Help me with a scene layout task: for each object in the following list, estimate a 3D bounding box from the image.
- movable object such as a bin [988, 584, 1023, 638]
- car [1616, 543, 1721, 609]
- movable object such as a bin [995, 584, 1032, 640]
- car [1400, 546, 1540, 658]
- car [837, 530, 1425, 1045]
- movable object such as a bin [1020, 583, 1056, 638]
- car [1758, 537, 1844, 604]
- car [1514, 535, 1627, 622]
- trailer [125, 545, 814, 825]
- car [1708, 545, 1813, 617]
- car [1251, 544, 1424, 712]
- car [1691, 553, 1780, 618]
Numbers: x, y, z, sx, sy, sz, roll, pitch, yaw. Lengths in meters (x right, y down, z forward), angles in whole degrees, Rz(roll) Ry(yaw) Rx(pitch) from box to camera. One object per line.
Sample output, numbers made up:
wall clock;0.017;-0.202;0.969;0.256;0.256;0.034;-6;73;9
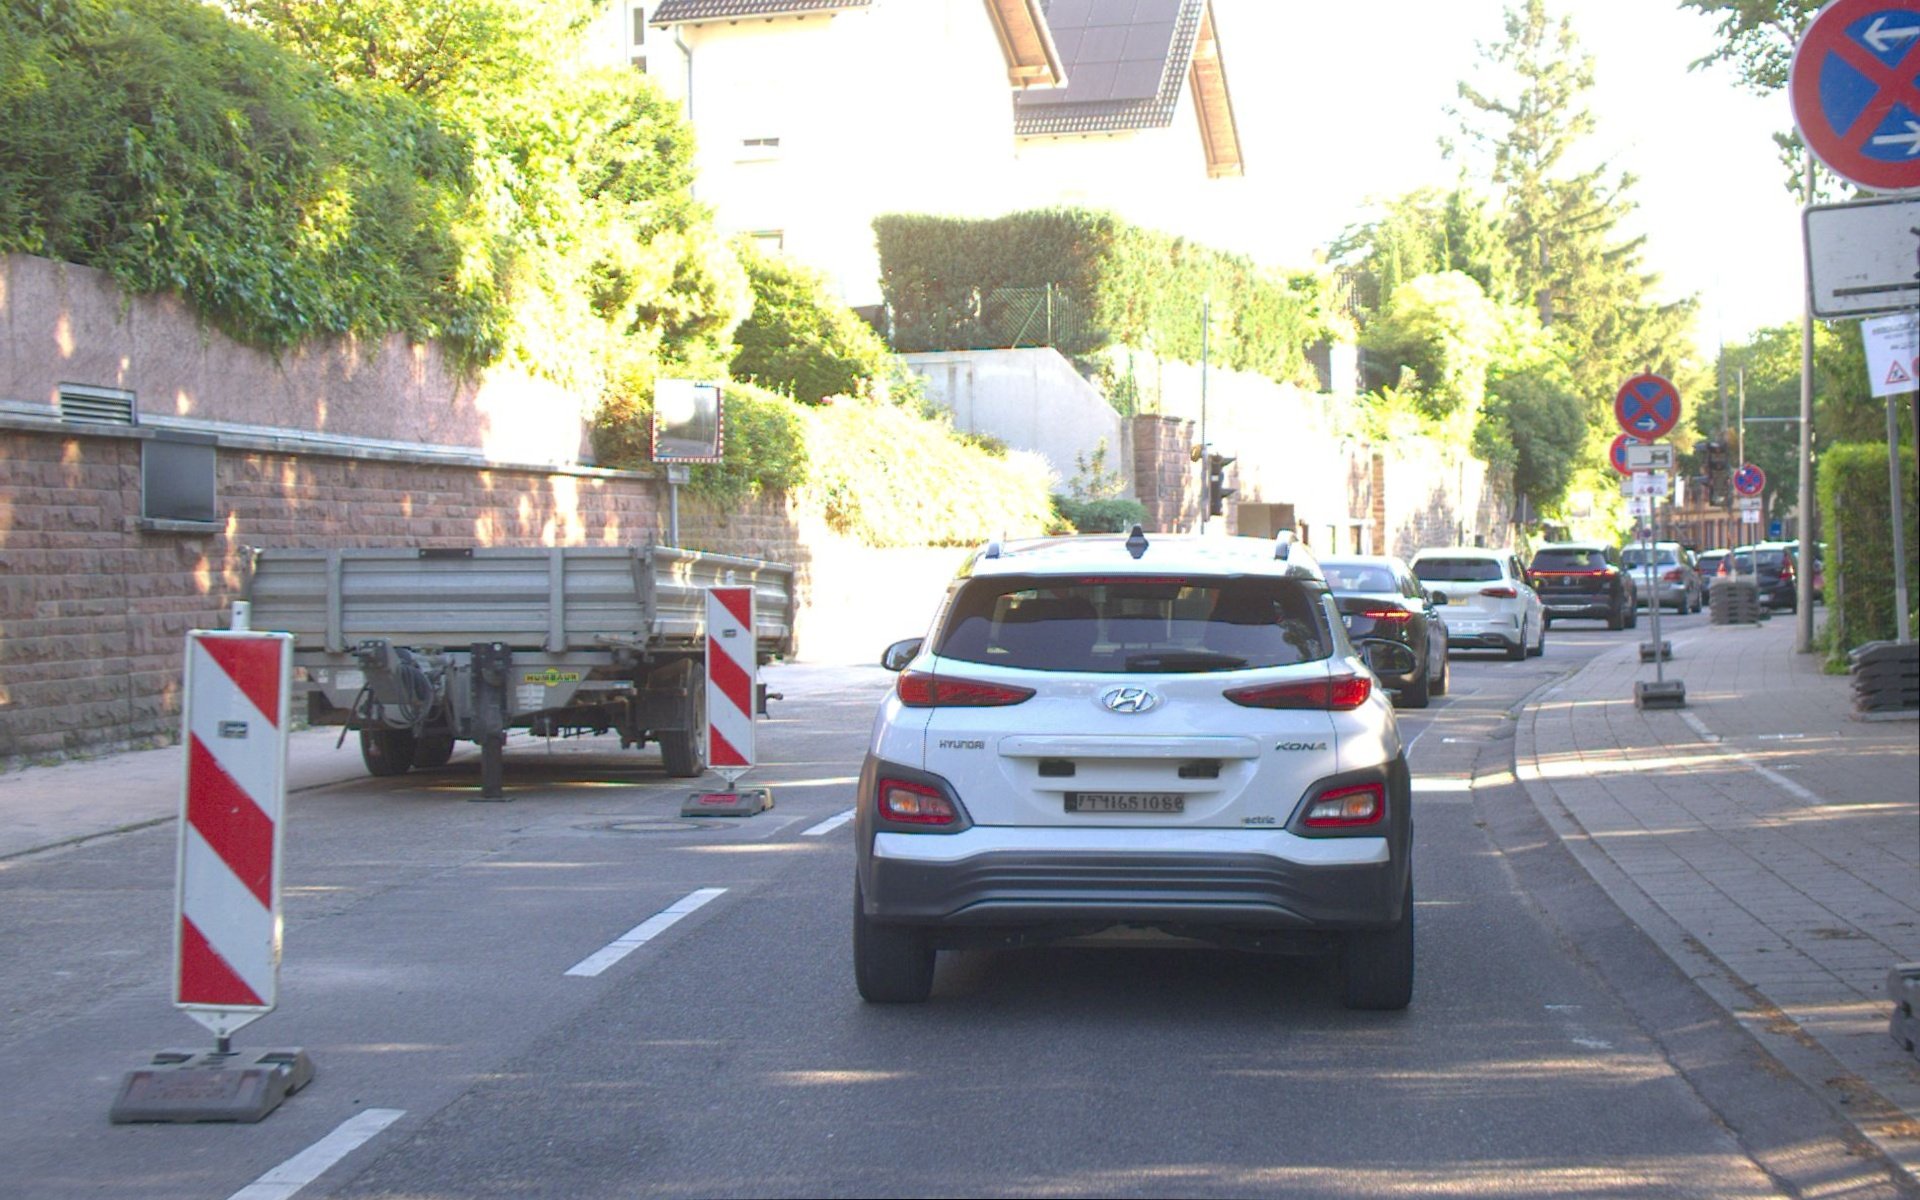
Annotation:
movable object such as a bin;0.711;0.169;53.980;0.454;0.831;0.392;0;1;17
car;15.898;-0.548;77.015;1.695;1.442;3.877;0;1;21
movable object such as a bin;0.852;0.189;54.429;0.456;0.881;0.500;1;1;17
car;7.056;0.000;47.379;1.571;1.472;3.545;0;1;14
car;0.696;0.537;12.475;1.772;1.537;3.999;1;1;5
movable object such as a bin;1.273;0.166;55.926;0.456;0.881;0.500;1;1;17
car;20.076;-0.715;82.001;1.654;1.559;2.869;0;1;21
car;11.094;-0.411;62.307;1.695;1.528;3.879;0;1;15
trailer;-2.831;0.411;22.207;2.640;1.484;7.117;1;1;7
car;16.843;-0.416;72.251;1.796;1.436;3.997;-1;1;18
car;3.730;0.232;33.592;1.512;1.528;3.546;-1;1;9
car;20.348;-0.386;90.108;1.695;1.499;3.627;-3;1;21
